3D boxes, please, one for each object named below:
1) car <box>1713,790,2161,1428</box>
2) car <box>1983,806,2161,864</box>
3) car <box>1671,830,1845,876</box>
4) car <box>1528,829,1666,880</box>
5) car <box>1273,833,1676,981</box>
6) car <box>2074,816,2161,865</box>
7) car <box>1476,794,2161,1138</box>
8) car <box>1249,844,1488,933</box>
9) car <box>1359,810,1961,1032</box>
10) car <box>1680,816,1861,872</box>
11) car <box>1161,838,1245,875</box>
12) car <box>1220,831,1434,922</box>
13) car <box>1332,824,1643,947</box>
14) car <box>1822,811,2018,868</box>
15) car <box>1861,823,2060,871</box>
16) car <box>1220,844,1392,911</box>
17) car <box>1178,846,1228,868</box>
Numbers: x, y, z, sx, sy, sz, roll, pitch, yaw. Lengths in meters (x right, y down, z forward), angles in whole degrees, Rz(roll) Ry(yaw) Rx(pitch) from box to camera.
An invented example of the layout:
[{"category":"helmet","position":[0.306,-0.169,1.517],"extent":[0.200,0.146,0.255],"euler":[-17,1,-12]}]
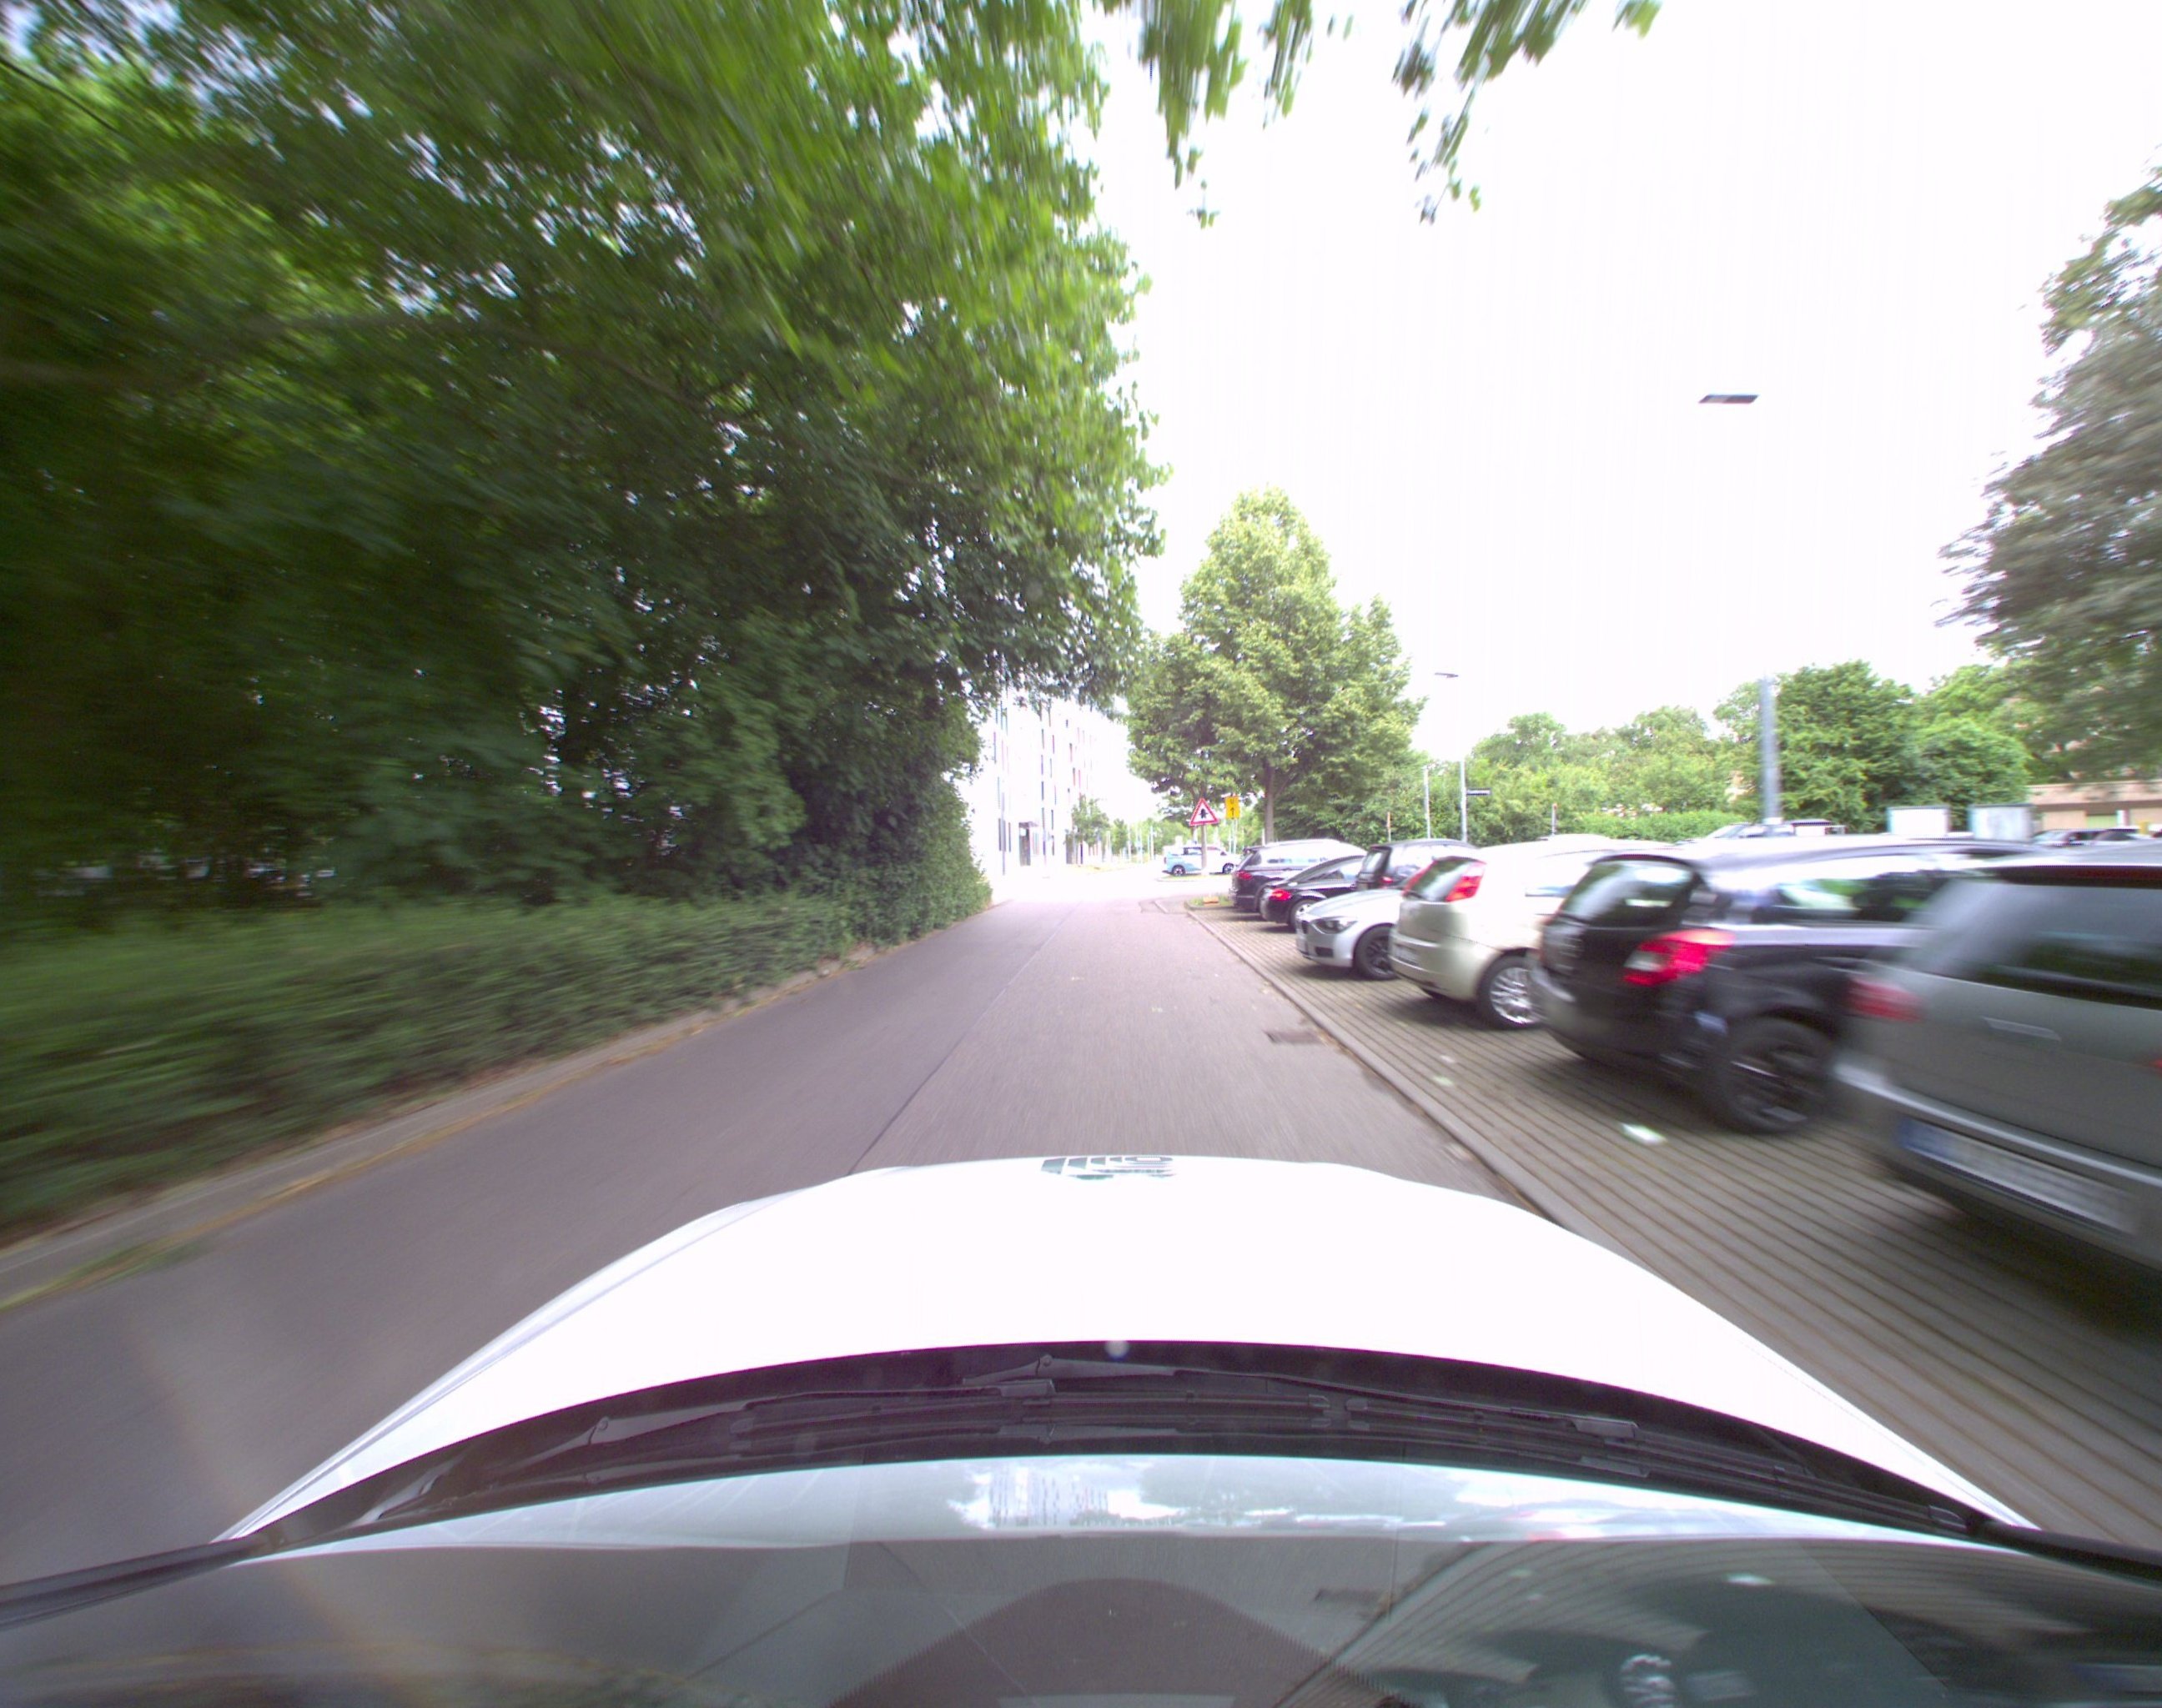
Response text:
[{"category":"car","position":[4.540,0.487,2.330],"extent":[3.944,1.511,1.795],"euler":[-4,0,3]},{"category":"car","position":[39.248,-0.727,31.767],"extent":[5.288,2.057,2.143],"euler":[-2,0,8]},{"category":"car","position":[23.372,-0.027,28.261],"extent":[4.367,1.428,1.707],"euler":[-2,0,8]},{"category":"car","position":[18.412,0.026,29.236],"extent":[3.756,1.668,1.772],"euler":[-2,0,10]},{"category":"car","position":[4.573,0.604,9.990],"extent":[3.971,1.430,1.936],"euler":[-3,-1,2]},{"category":"car","position":[35.618,-0.481,26.400],"extent":[4.257,1.526,1.708],"euler":[-2,-1,9]},{"category":"car","position":[4.739,0.514,4.760],"extent":[3.943,1.511,1.765],"euler":[-4,0,4]},{"category":"car","position":[5.159,0.623,15.075],"extent":[3.813,1.358,1.825],"euler":[-3,-1,6]},{"category":"car","position":[4.779,0.540,7.248],"extent":[3.970,1.528,1.812],"euler":[-3,-1,3]},{"category":"car","position":[27.953,-0.393,33.201],"extent":[5.288,2.057,2.143],"euler":[-2,0,8]},{"category":"car","position":[7.497,0.131,50.484],"extent":[4.951,1.972,1.848],"euler":[-3,0,3]},{"category":"car","position":[5.217,0.480,17.787],"extent":[4.103,1.650,1.983],"euler":[-3,-1,6]},{"category":"car","position":[6.068,0.465,12.534],"extent":[3.817,1.558,1.820],"euler":[-3,-1,2]},{"category":"car","position":[33.696,-0.565,32.877],"extent":[5.288,2.057,2.143],"euler":[-2,0,8]},{"category":"car","position":[29.437,-0.230,27.395],"extent":[4.402,1.428,1.708],"euler":[-2,0,9]},{"category":"car","position":[5.524,0.582,20.393],"extent":[3.815,1.403,1.854],"euler":[-3,-1,4]},{"category":"car","position":[11.047,0.274,73.755],"extent":[4.355,1.904,1.941],"euler":[-1,0,7]}]
